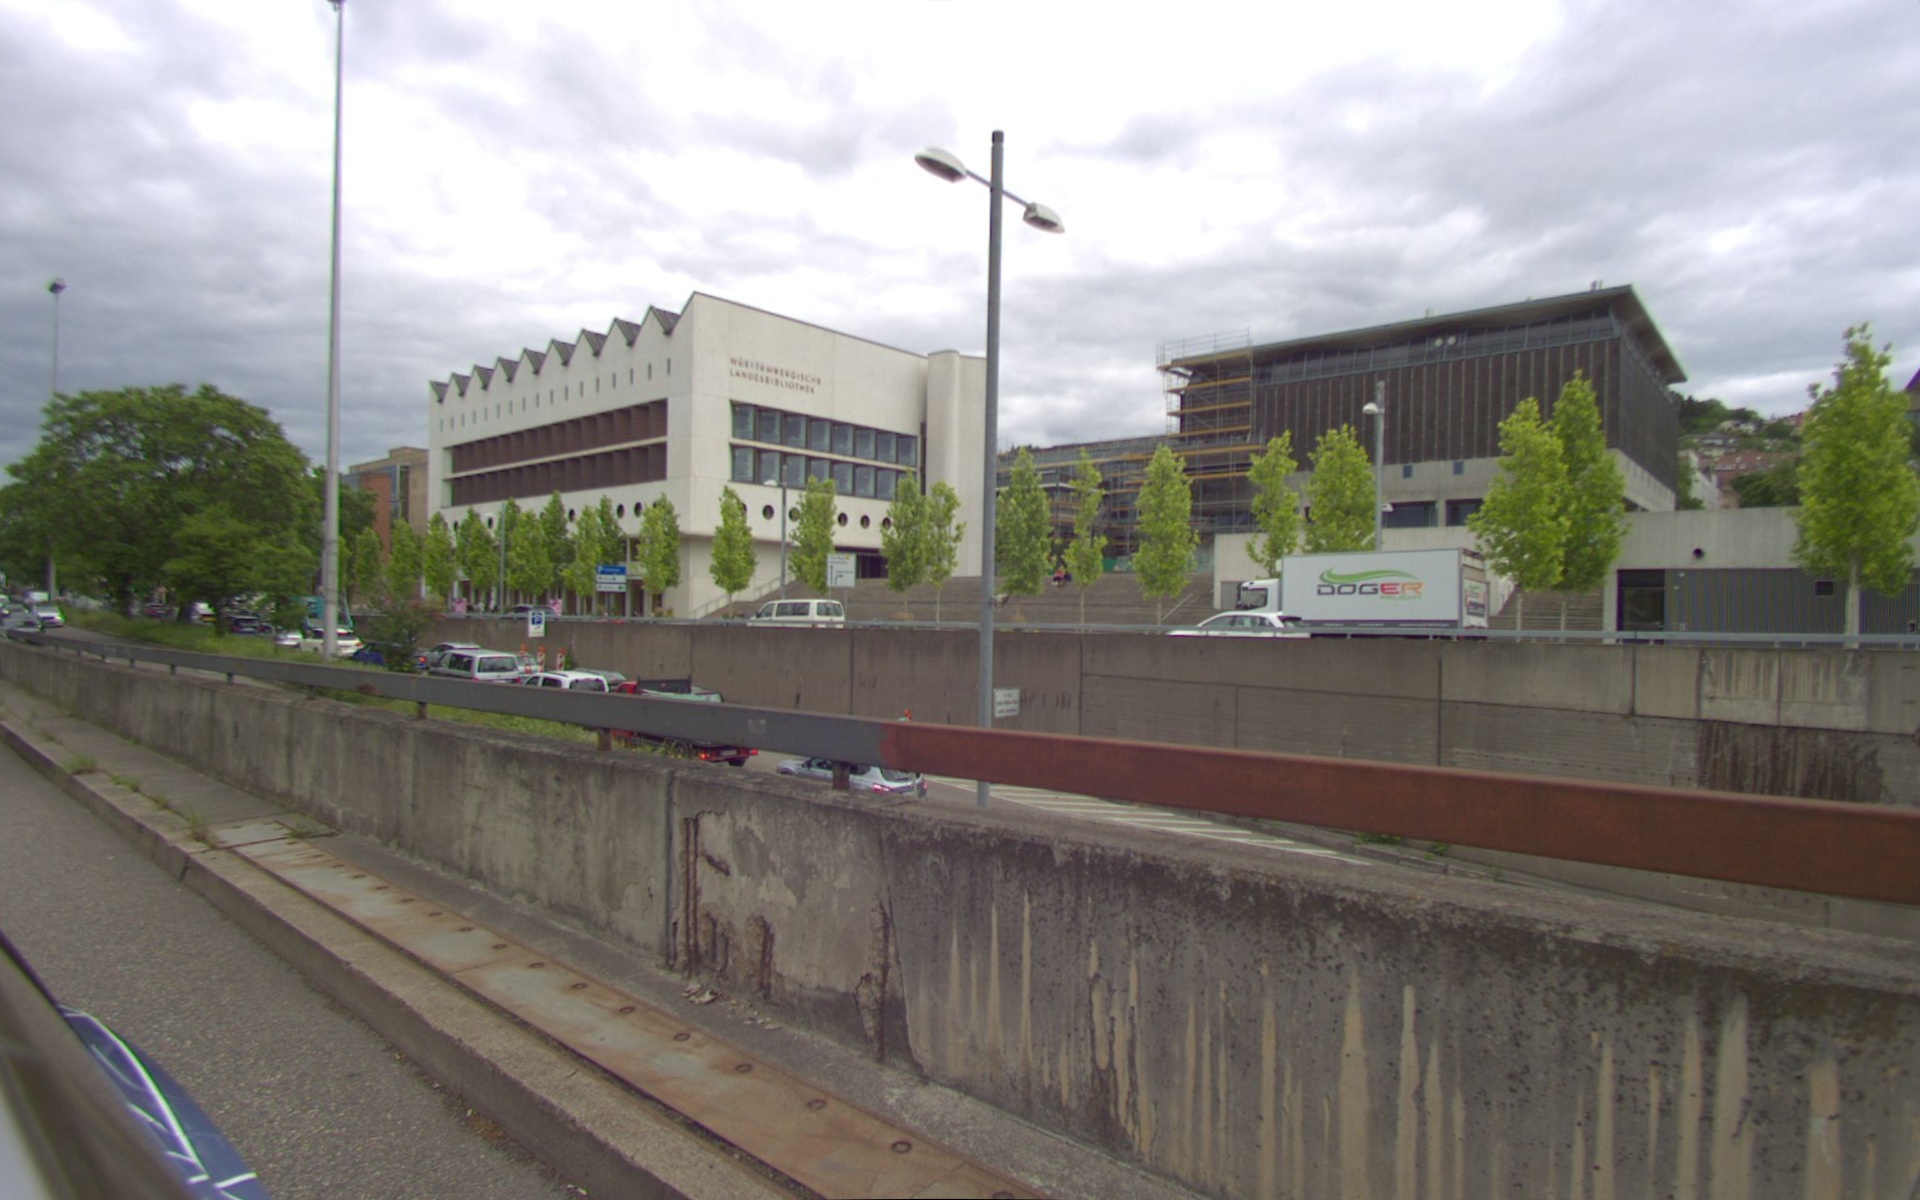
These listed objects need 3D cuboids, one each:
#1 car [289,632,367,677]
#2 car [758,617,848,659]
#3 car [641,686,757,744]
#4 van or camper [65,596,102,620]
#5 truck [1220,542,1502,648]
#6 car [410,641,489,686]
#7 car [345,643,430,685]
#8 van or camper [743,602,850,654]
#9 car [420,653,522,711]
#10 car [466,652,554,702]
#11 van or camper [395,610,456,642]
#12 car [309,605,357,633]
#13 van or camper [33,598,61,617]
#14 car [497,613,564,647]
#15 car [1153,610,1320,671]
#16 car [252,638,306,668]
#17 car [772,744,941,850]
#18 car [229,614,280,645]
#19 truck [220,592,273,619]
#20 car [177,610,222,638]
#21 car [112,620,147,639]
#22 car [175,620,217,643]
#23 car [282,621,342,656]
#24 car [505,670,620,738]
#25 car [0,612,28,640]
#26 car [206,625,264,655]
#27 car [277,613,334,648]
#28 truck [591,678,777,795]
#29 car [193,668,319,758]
[{"bbox_3d":[-31.452,2.684,50.317,4.850,2.148,1.972,-2,-5,42],"label":"car"},{"bbox_3d":[-7.256,1.748,46.570,3.999,1.829,1.972,-2,-2,42],"label":"car"},{"bbox_3d":[-9.007,3.902,34.845,3.999,1.563,1.973,-1,0,42],"label":"car"},{"bbox_3d":[-78.917,0.715,91.096,3.999,2.029,2.010,-2,-1,42],"label":"van or camper"},{"bbox_3d":[11.907,-0.030,30.456,7.248,2.809,3.198,-2,-2,40],"label":"truck"},{"bbox_3d":[-24.441,3.018,48.403,3.999,2.029,1.972,-2,-5,42],"label":"car"},{"bbox_3d":[-25.348,2.819,44.767,4.280,1.757,1.972,-2,-5,42],"label":"car"},{"bbox_3d":[-6.812,1.152,41.881,4.556,2.029,1.972,-2,-2,42],"label":"van or camper"},{"bbox_3d":[-18.741,3.091,38.711,4.331,2.029,1.972,-2,-5,42],"label":"car"},{"bbox_3d":[-19.795,3.349,44.461,3.999,2.029,1.972,-2,-5,42],"label":"car"},{"bbox_3d":[-35.112,1.736,66.388,4.553,2.029,1.973,-2,-2,40],"label":"van or camper"},{"bbox_3d":[-47.495,1.445,76.617,3.997,2.029,1.973,-1,0,40],"label":"car"},{"bbox_3d":[-102.827,0.829,113.975,3.999,2.029,2.010,-2,-1,42],"label":"van or camper"},{"bbox_3d":[-24.069,1.689,56.626,3.999,1.829,1.972,-2,-2,42],"label":"car"},{"bbox_3d":[7.809,1.138,28.864,4.270,1.586,1.700,-2,-2,43],"label":"car"},{"bbox_3d":[-36.969,2.851,54.930,3.360,1.497,1.653,-1,-2,42],"label":"car"},{"bbox_3d":[-2.502,4.562,24.007,3.926,1.829,1.771,-2,-1,41],"label":"car"},{"bbox_3d":[-49.180,2.072,70.525,3.999,2.029,1.972,-2,-5,42],"label":"car"},{"bbox_3d":[-60.405,0.488,85.622,5.608,2.174,1.979,-2,-1,36],"label":"truck"},{"bbox_3d":[-59.028,1.909,78.544,3.999,2.029,1.972,-2,-5,42],"label":"car"},{"bbox_3d":[-65.708,2.327,80.035,3.360,1.497,1.653,-2,-1,42],"label":"car"},{"bbox_3d":[-52.261,2.123,69.209,3.360,1.497,1.653,-2,-1,42],"label":"car"},{"bbox_3d":[-39.769,2.362,62.071,4.654,2.029,1.972,-2,-1,42],"label":"car"},{"bbox_3d":[-13.488,3.459,34.251,3.999,2.029,1.972,-2,-5,42],"label":"car"},{"bbox_3d":[-72.794,1.990,77.296,3.999,2.029,1.972,0,-2,42],"label":"car"},{"bbox_3d":[-43.248,2.351,60.347,3.999,1.672,1.972,-2,-1,42],"label":"car"},{"bbox_3d":[-41.130,1.936,63.587,3.999,2.029,1.972,-2,-5,42],"label":"car"},{"bbox_3d":[-7.995,3.737,28.948,5.978,2.711,2.293,-2,-1,43],"label":"truck"},{"bbox_3d":[-19.410,3.012,27.856,3.999,2.029,1.972,-1,0,42],"label":"car"}]
